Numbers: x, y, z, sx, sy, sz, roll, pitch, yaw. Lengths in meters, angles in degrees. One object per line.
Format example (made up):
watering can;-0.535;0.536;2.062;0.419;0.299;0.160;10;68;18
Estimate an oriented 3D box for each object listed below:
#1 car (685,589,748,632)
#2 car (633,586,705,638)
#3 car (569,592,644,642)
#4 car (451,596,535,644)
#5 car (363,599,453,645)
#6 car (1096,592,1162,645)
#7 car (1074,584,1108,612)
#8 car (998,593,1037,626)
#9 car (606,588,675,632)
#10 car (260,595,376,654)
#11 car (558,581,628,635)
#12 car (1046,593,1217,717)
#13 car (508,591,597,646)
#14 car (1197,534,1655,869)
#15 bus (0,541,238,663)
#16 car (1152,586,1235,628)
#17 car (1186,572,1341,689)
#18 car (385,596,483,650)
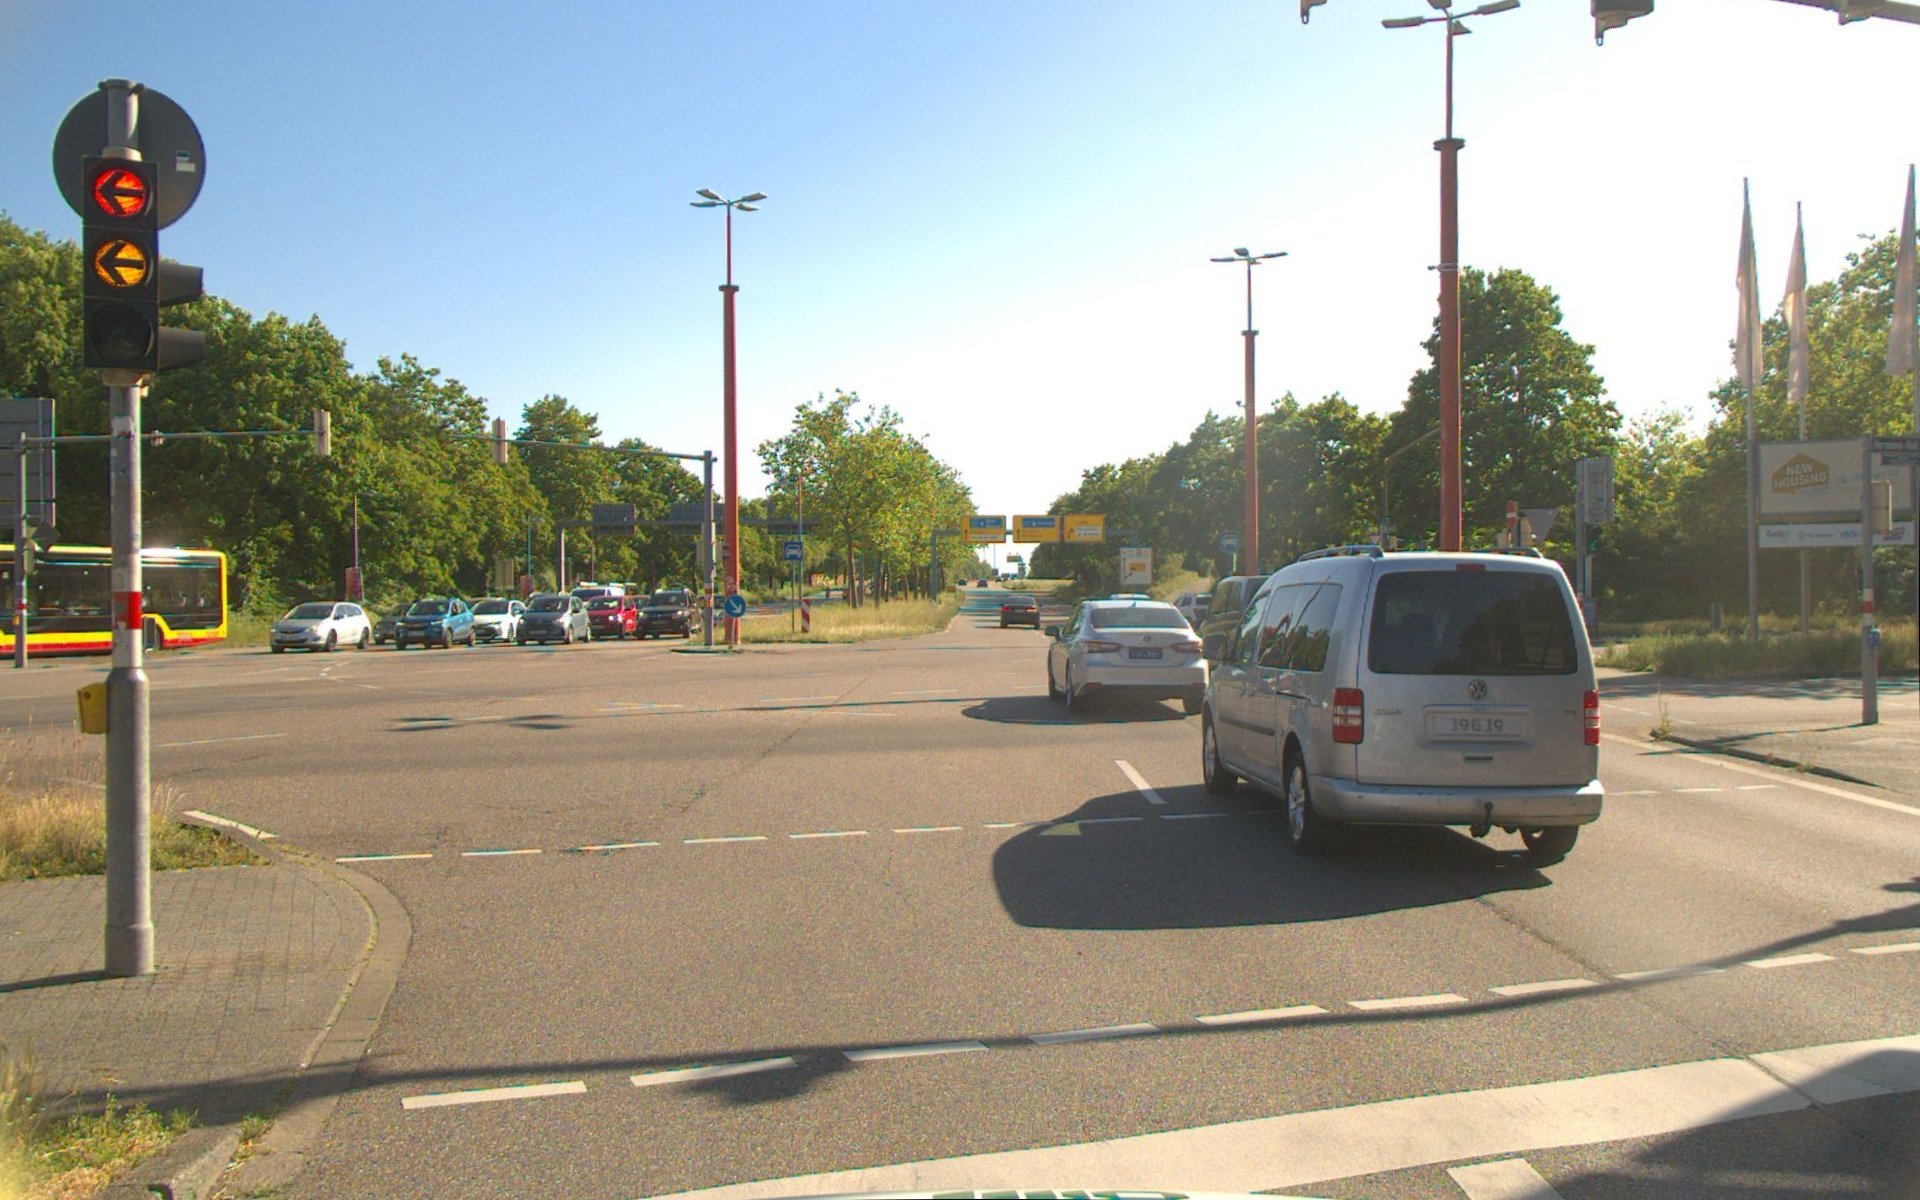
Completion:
car;-9.355;0.376;63.684;1.847;1.570;3.999;-2;0;-1
car;-9.843;0.387;56.198;1.757;1.654;4.142;-2;0;-2
car;-12.450;0.584;58.417;1.838;1.579;3.998;-3;0;-2
car;-16.036;0.665;57.014;1.863;1.582;3.998;-1;0;-2
car;-19.893;0.776;59.780;1.846;1.539;4.000;-1;0;0
car;5.404;0.580;53.153;1.681;1.636;3.846;1;0;-1
car;8.237;-0.107;104.264;1.728;1.664;4.297;1;0;-1
car;2.647;0.447;76.977;1.727;1.466;4.295;1;0;1
car;-12.410;0.369;64.418;1.862;1.658;4.000;0;0;1
car;-19.546;0.738;50.528;1.838;1.681;4.219;-1;0;0
car;-15.626;0.333;70.574;1.922;2.193;5.080;-1;0;-1
car;2.267;0.691;22.992;1.768;1.519;4.681;1;0;-1
car;-12.773;0.553;52.075;1.836;1.577;4.027;-2;1;-1
car;2.922;0.577;11.475;1.768;1.853;4.585;0;0;-2
bus;-26.491;0.066;48.023;2.590;3.318;12.542;1;0;17
car;9.680;0.279;68.801;1.737;1.664;4.276;0;0;-18
car;5.285;0.487;29.434;1.767;1.884;5.102;-1;0;0
car;-16.108;0.684;50.863;1.764;1.542;3.858;-2;0;0
